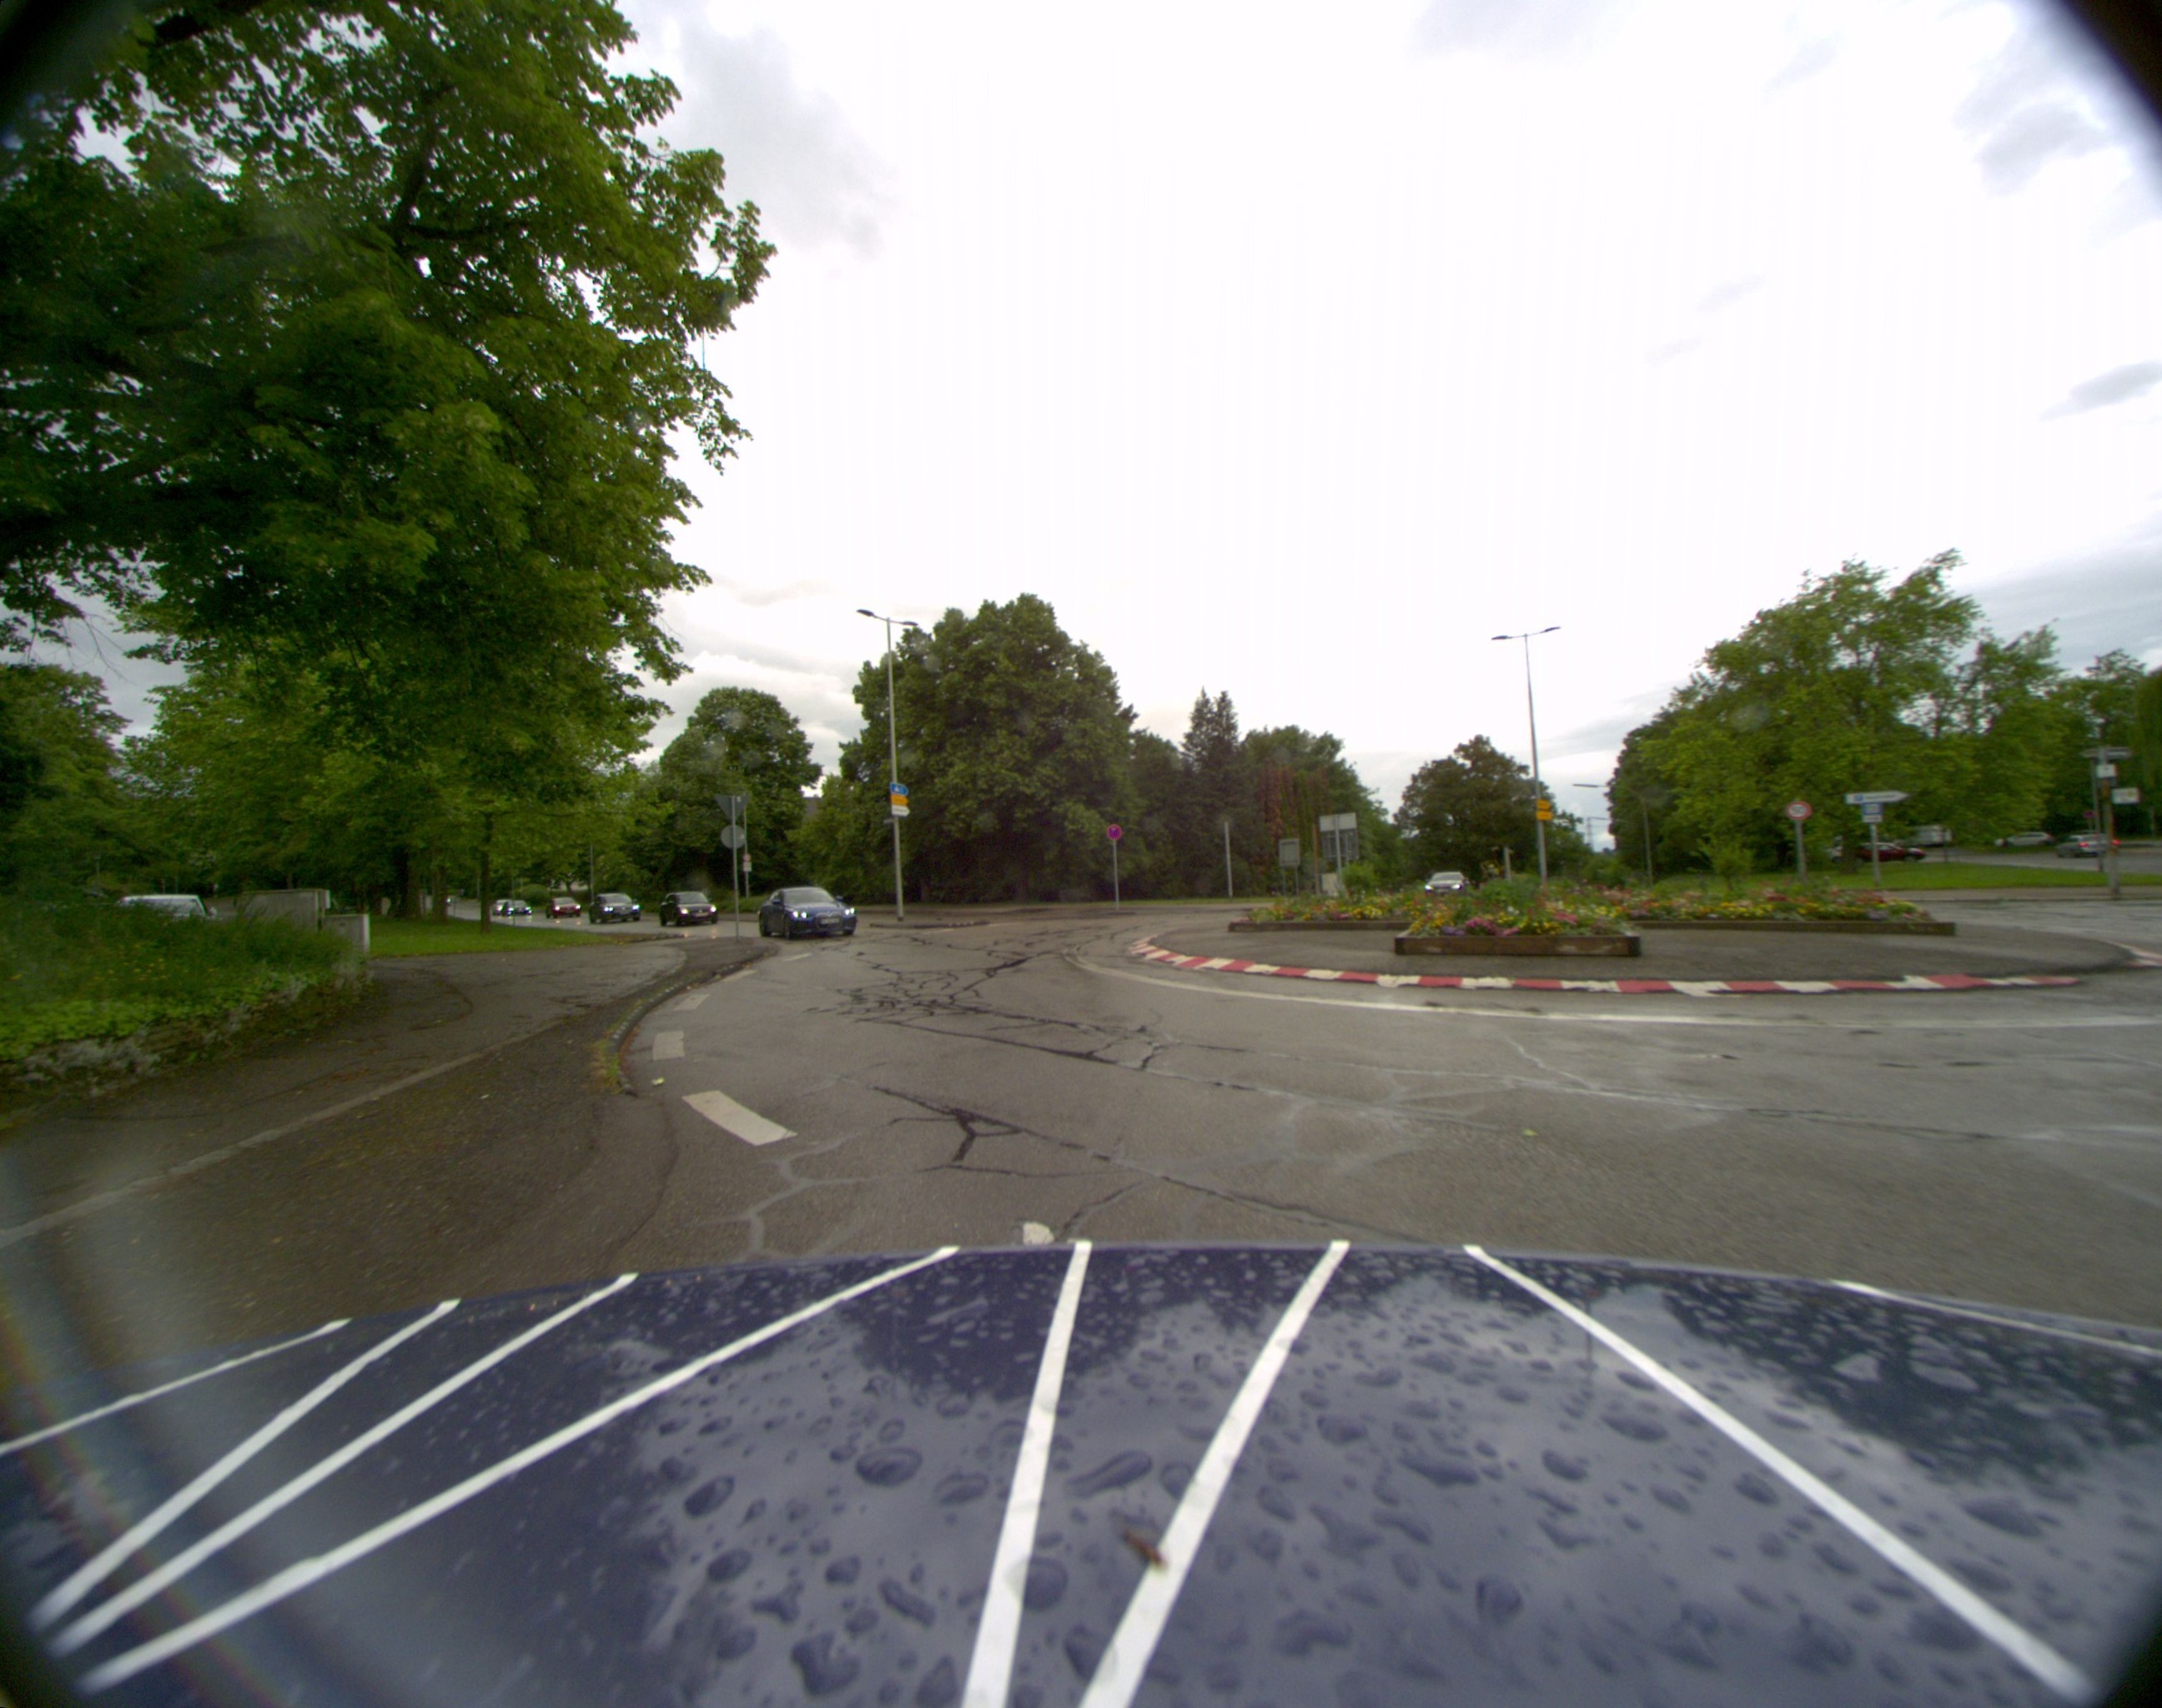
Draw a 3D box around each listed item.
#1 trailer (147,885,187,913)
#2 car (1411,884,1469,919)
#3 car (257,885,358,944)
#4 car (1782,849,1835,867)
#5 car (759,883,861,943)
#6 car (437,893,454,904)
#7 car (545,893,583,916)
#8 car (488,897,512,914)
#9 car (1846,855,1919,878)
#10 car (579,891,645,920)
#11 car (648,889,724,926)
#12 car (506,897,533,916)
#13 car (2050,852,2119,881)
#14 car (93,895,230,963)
[{"bbox_3d":[-75.811,3.708,63.065,5.179,2.104,1.776,-2,0,43],"label":"trailer"},{"bbox_3d":[17.590,2.294,37.163,1.710,1.412,4.008,-2,0,38],"label":"car"},{"bbox_3d":[-21.397,1.602,21.072,4.585,1.462,1.774,-2,-3,45],"label":"car"},{"bbox_3d":[70.784,0.422,73.956,3.626,1.585,1.809,-2,0,45],"label":"car"},{"bbox_3d":[-8.062,1.655,22.373,1.830,1.470,4.058,-2,0,-34],"label":"car"},{"bbox_3d":[-93.582,6.504,111.926,1.830,1.470,4.057,-2,0,-40],"label":"car"},{"bbox_3d":[-38.807,3.764,56.994,1.831,1.470,4.056,-2,0,-42],"label":"car"},{"bbox_3d":[-57.283,5.015,74.922,1.830,1.470,4.057,-2,0,-37],"label":"car"},{"bbox_3d":[59.167,0.961,56.188,3.626,1.585,1.809,-2,0,45],"label":"car"},{"bbox_3d":[-26.212,2.837,42.420,4.056,1.470,2.037,-2,0,42],"label":"car"},{"bbox_3d":[-17.719,2.335,33.982,4.056,1.470,1.831,-2,0,45],"label":"car"},{"bbox_3d":[-51.681,4.787,69.952,1.830,1.470,4.057,-2,0,-35],"label":"car"},{"bbox_3d":[65.688,0.800,49.795,1.994,1.731,4.152,-2,0,43],"label":"car"},{"bbox_3d":[-22.984,1.791,19.156,4.414,1.462,1.856,-2,-3,44],"label":"car"}]
